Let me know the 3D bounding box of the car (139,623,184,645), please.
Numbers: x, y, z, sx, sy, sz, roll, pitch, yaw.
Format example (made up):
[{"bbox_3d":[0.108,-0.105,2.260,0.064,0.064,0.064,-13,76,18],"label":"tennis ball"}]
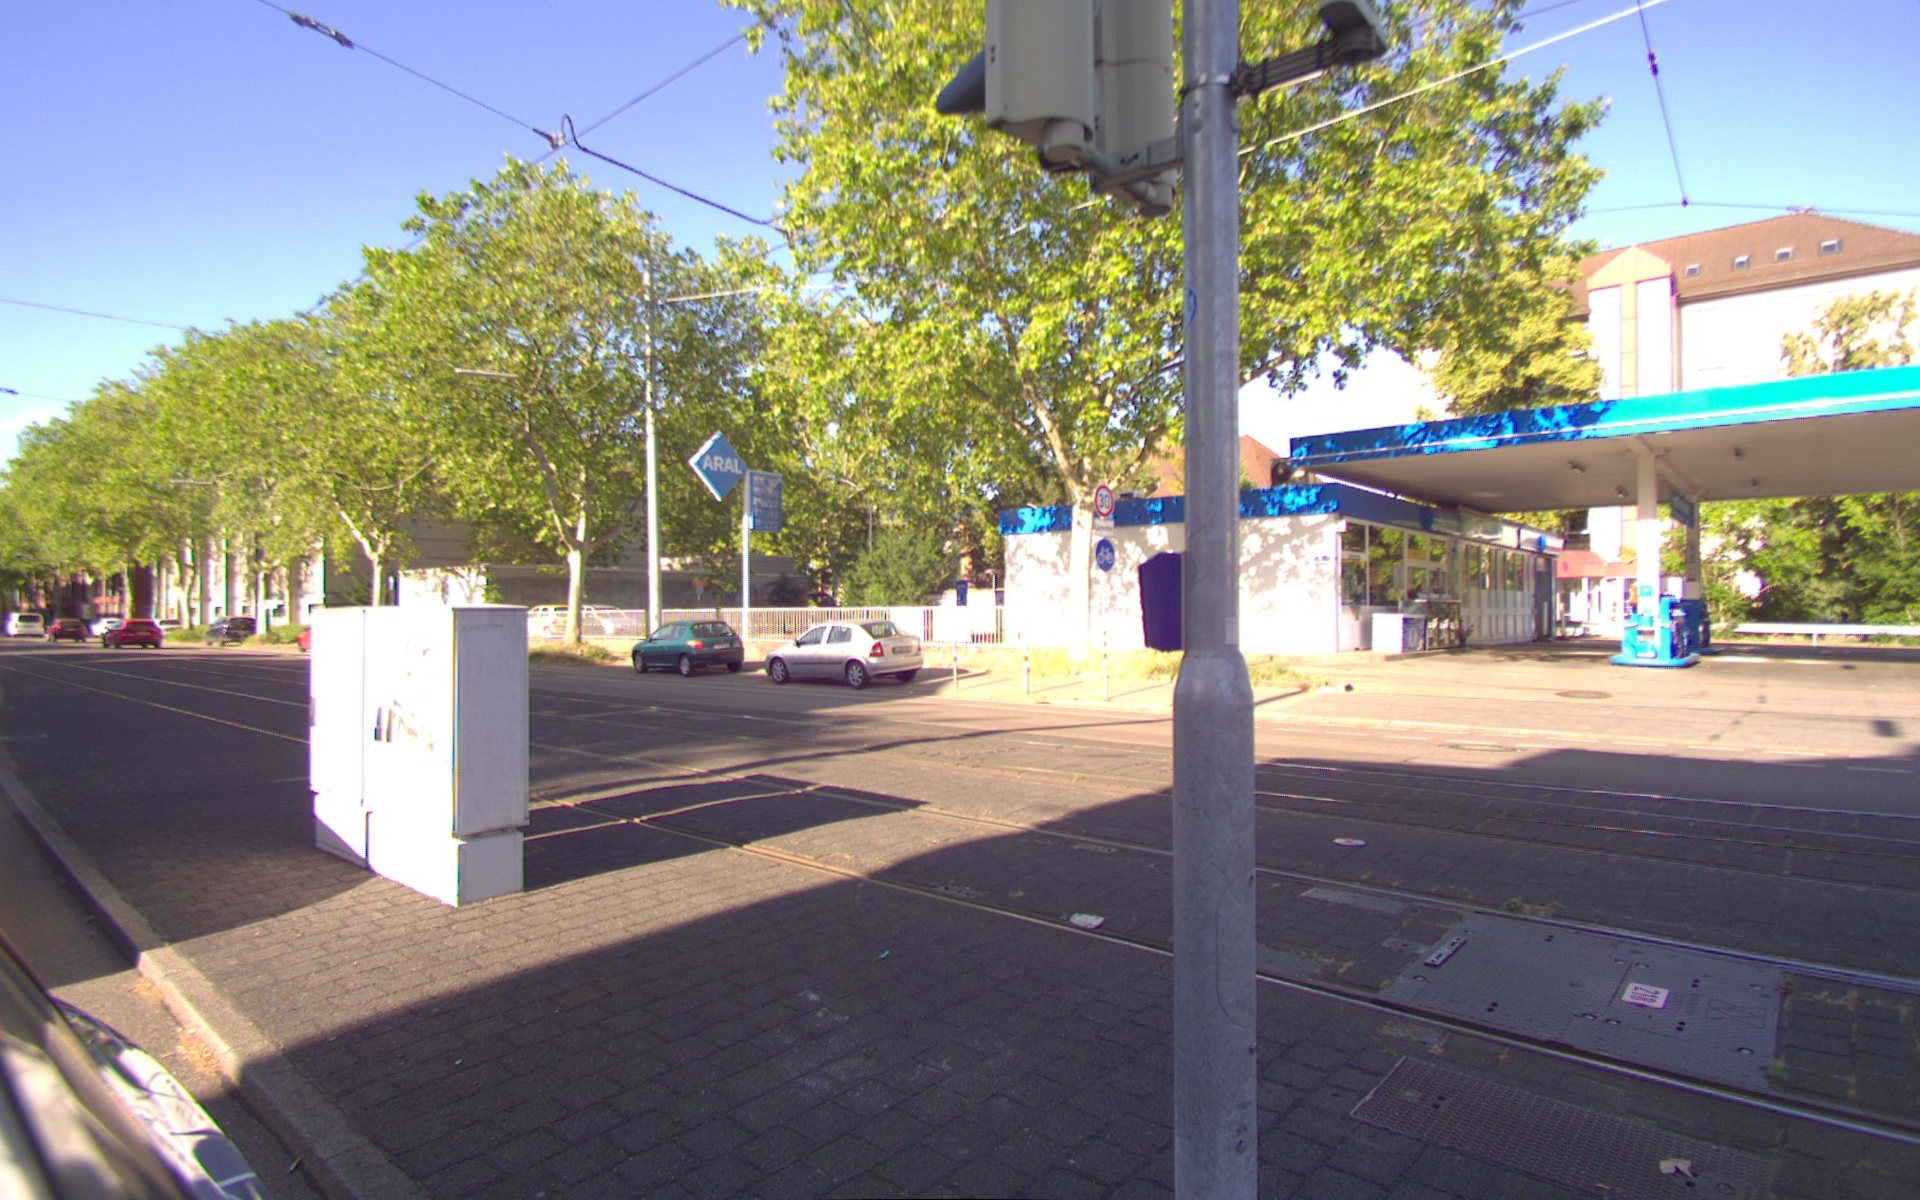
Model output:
[{"bbox_3d":[-53.809,2.285,68.195,3.998,1.420,1.678,-1,-2,41],"label":"car"}]

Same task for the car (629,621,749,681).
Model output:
[{"bbox_3d":[-7.209,1.298,26.807,3.253,1.431,1.526,-1,0,41],"label":"car"}]

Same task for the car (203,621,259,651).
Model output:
[{"bbox_3d":[-40.733,1.976,56.531,3.998,1.587,1.678,-1,-2,41],"label":"car"}]

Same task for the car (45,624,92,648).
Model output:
[{"bbox_3d":[-58.025,2.331,65.830,3.998,1.431,1.678,-1,-6,41],"label":"car"}]

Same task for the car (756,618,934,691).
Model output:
[{"bbox_3d":[-2.633,1.150,22.612,3.998,1.431,1.709,-1,0,41],"label":"car"}]

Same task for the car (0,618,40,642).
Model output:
[{"bbox_3d":[-73.848,2.330,79.419,4.390,1.860,1.827,-1,-2,39],"label":"car"}]

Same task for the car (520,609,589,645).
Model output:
[{"bbox_3d":[-16.845,1.093,41.986,3.151,1.431,1.525,-1,0,44],"label":"car"}]

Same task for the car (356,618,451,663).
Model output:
[{"bbox_3d":[-22.149,1.561,40.228,4.431,1.534,1.731,-1,3,40],"label":"car"}]

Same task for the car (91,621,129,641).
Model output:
[{"bbox_3d":[-66.811,2.408,79.542,3.998,1.569,1.678,-1,-2,41],"label":"car"}]

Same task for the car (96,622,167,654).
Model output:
[{"bbox_3d":[-41.405,1.884,50.543,4.761,1.534,1.887,-1,-2,40],"label":"car"}]

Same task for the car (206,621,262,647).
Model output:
[{"bbox_3d":[-40.598,1.883,56.572,3.998,1.420,1.678,-1,-2,41],"label":"car"}]

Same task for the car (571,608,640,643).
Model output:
[{"bbox_3d":[-15.194,1.073,43.308,3.151,1.431,1.525,-1,0,44],"label":"car"}]

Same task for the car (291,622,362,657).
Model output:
[{"bbox_3d":[-29.016,1.772,46.311,3.998,1.479,1.678,0,-1,41],"label":"car"}]
